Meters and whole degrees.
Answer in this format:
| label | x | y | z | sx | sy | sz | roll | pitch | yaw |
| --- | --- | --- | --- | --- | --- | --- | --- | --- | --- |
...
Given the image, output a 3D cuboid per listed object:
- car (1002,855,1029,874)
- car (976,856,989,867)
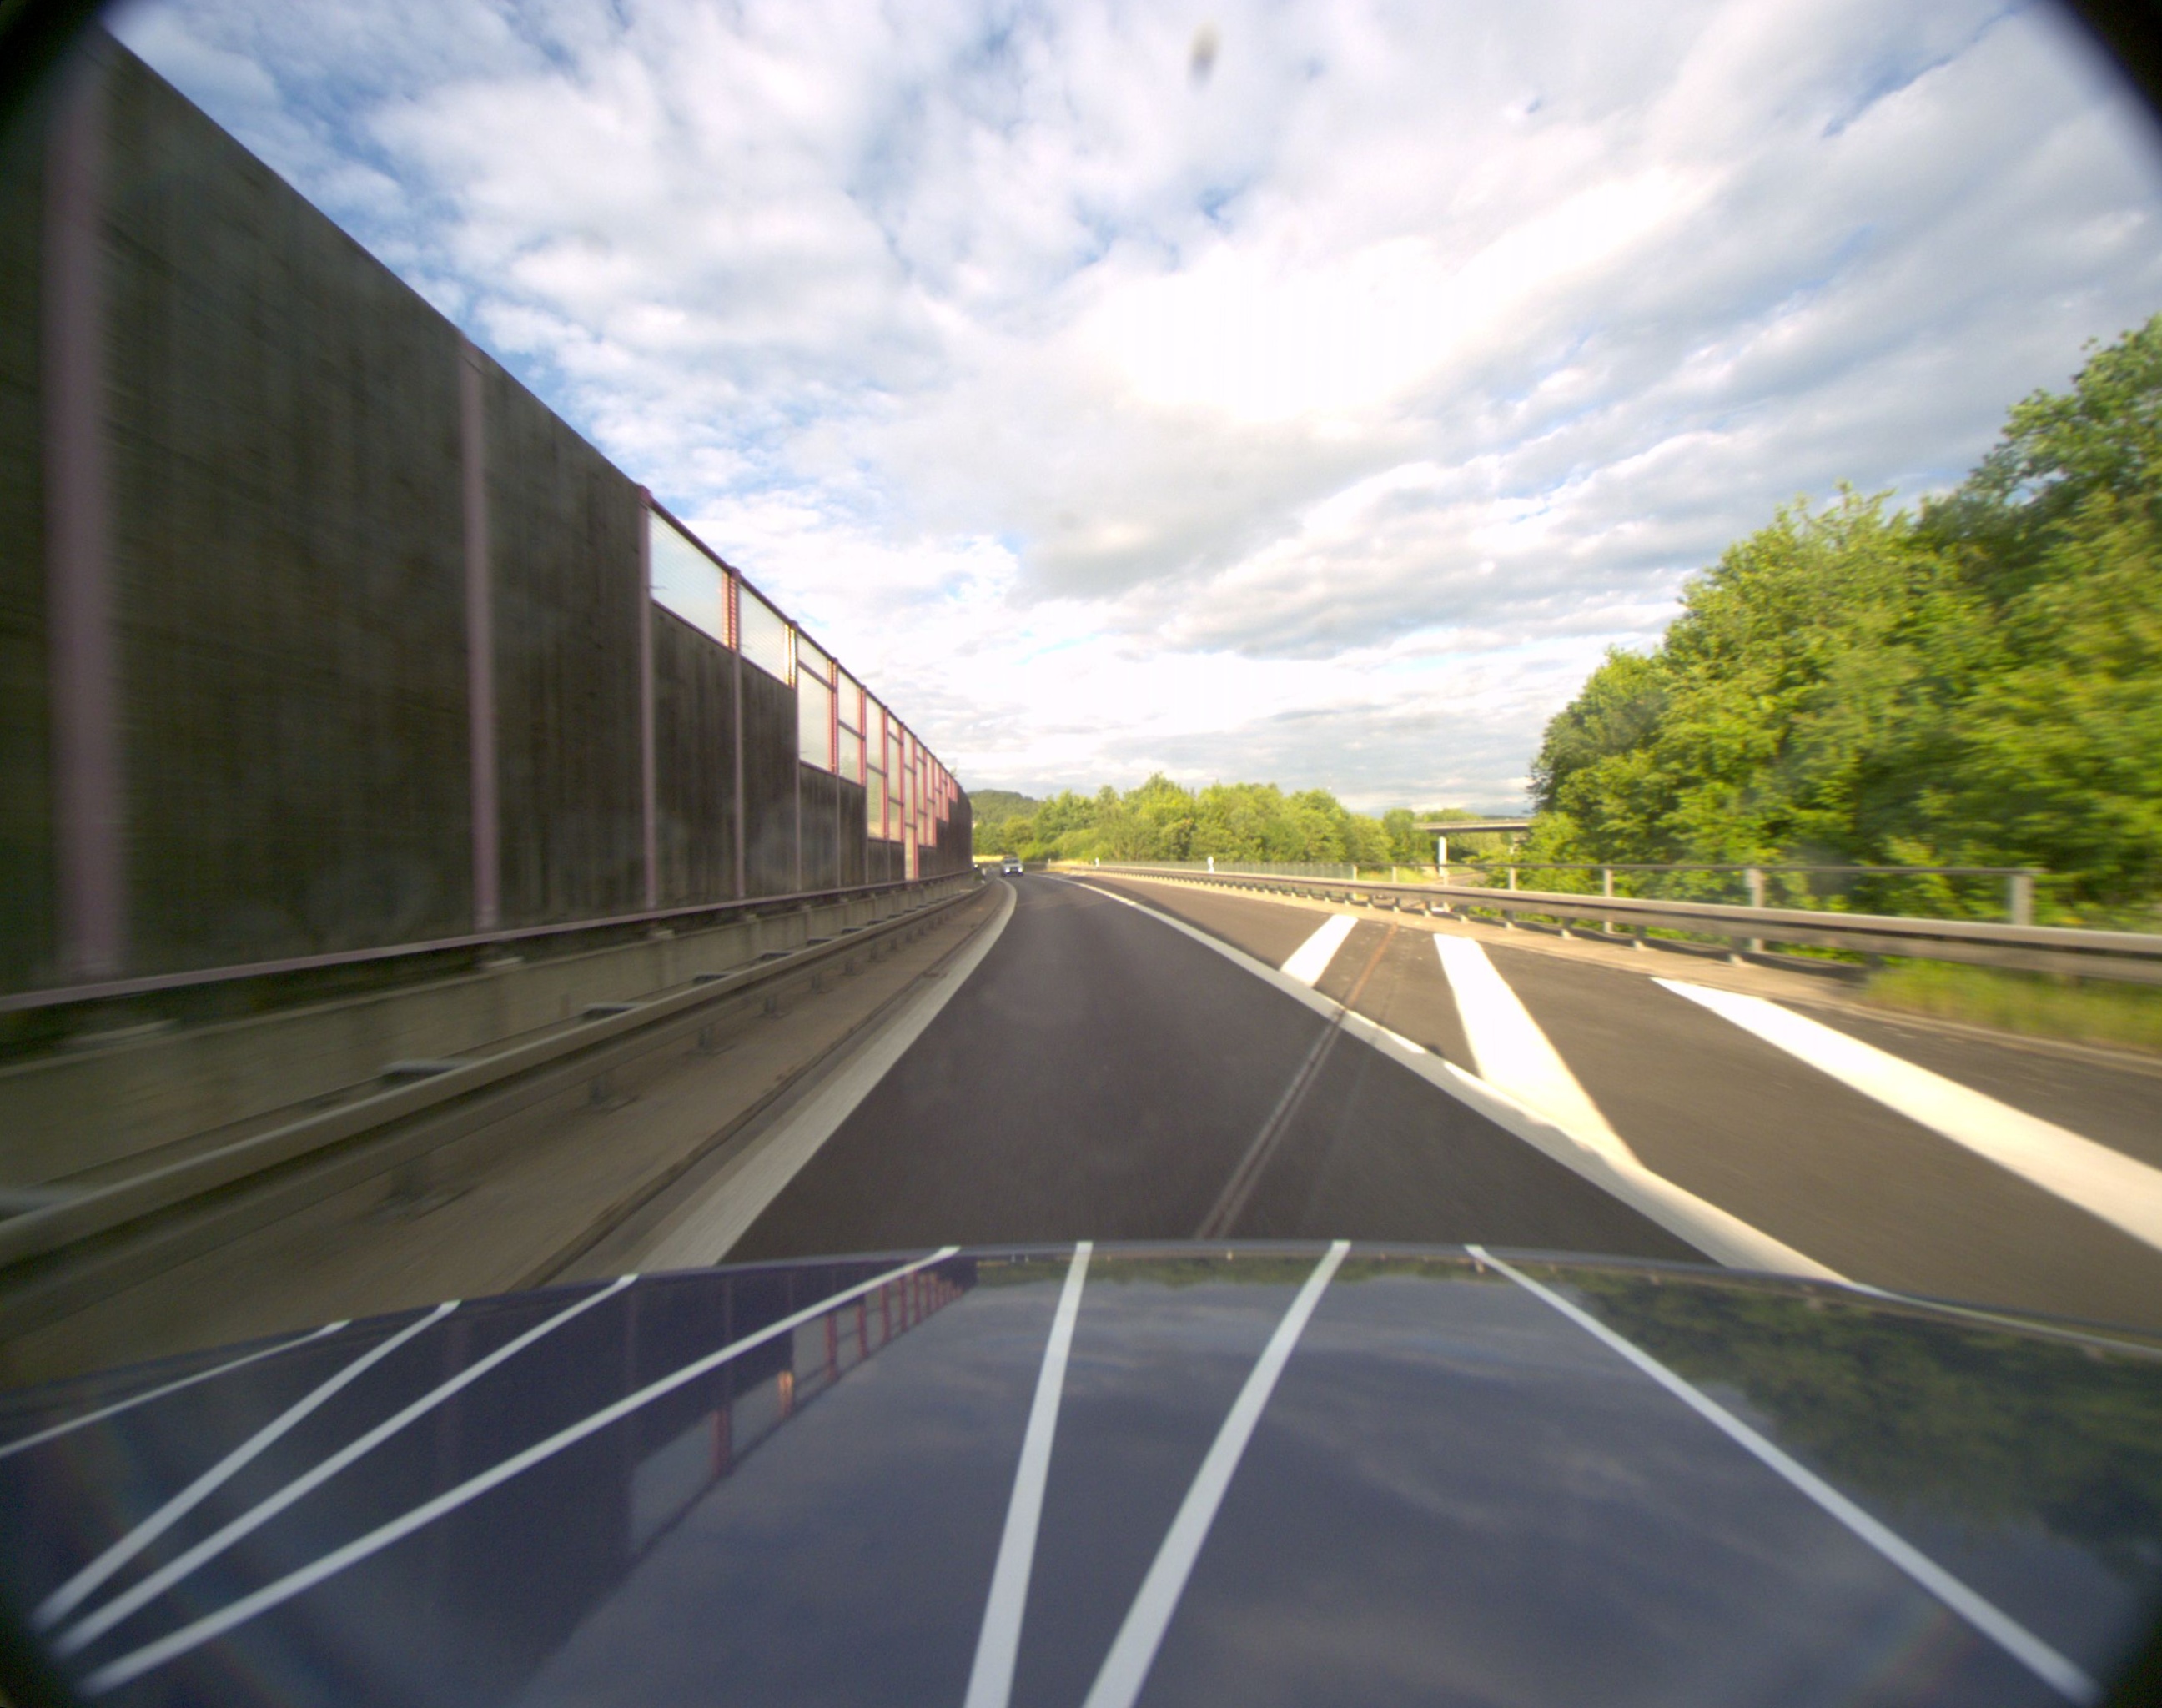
| label | x | y | z | sx | sy | sz | roll | pitch | yaw |
| --- | --- | --- | --- | --- | --- | --- | --- | --- | --- |
| car | -6.316 | 0.983 | 73.142 | 1.907 | 1.655 | 3.995 | -3 | 0 | -14 |
| car | -14.958 | 1.115 | 115.068 | 1.621 | 1.452 | 3.658 | -2 | 1 | -11 |
